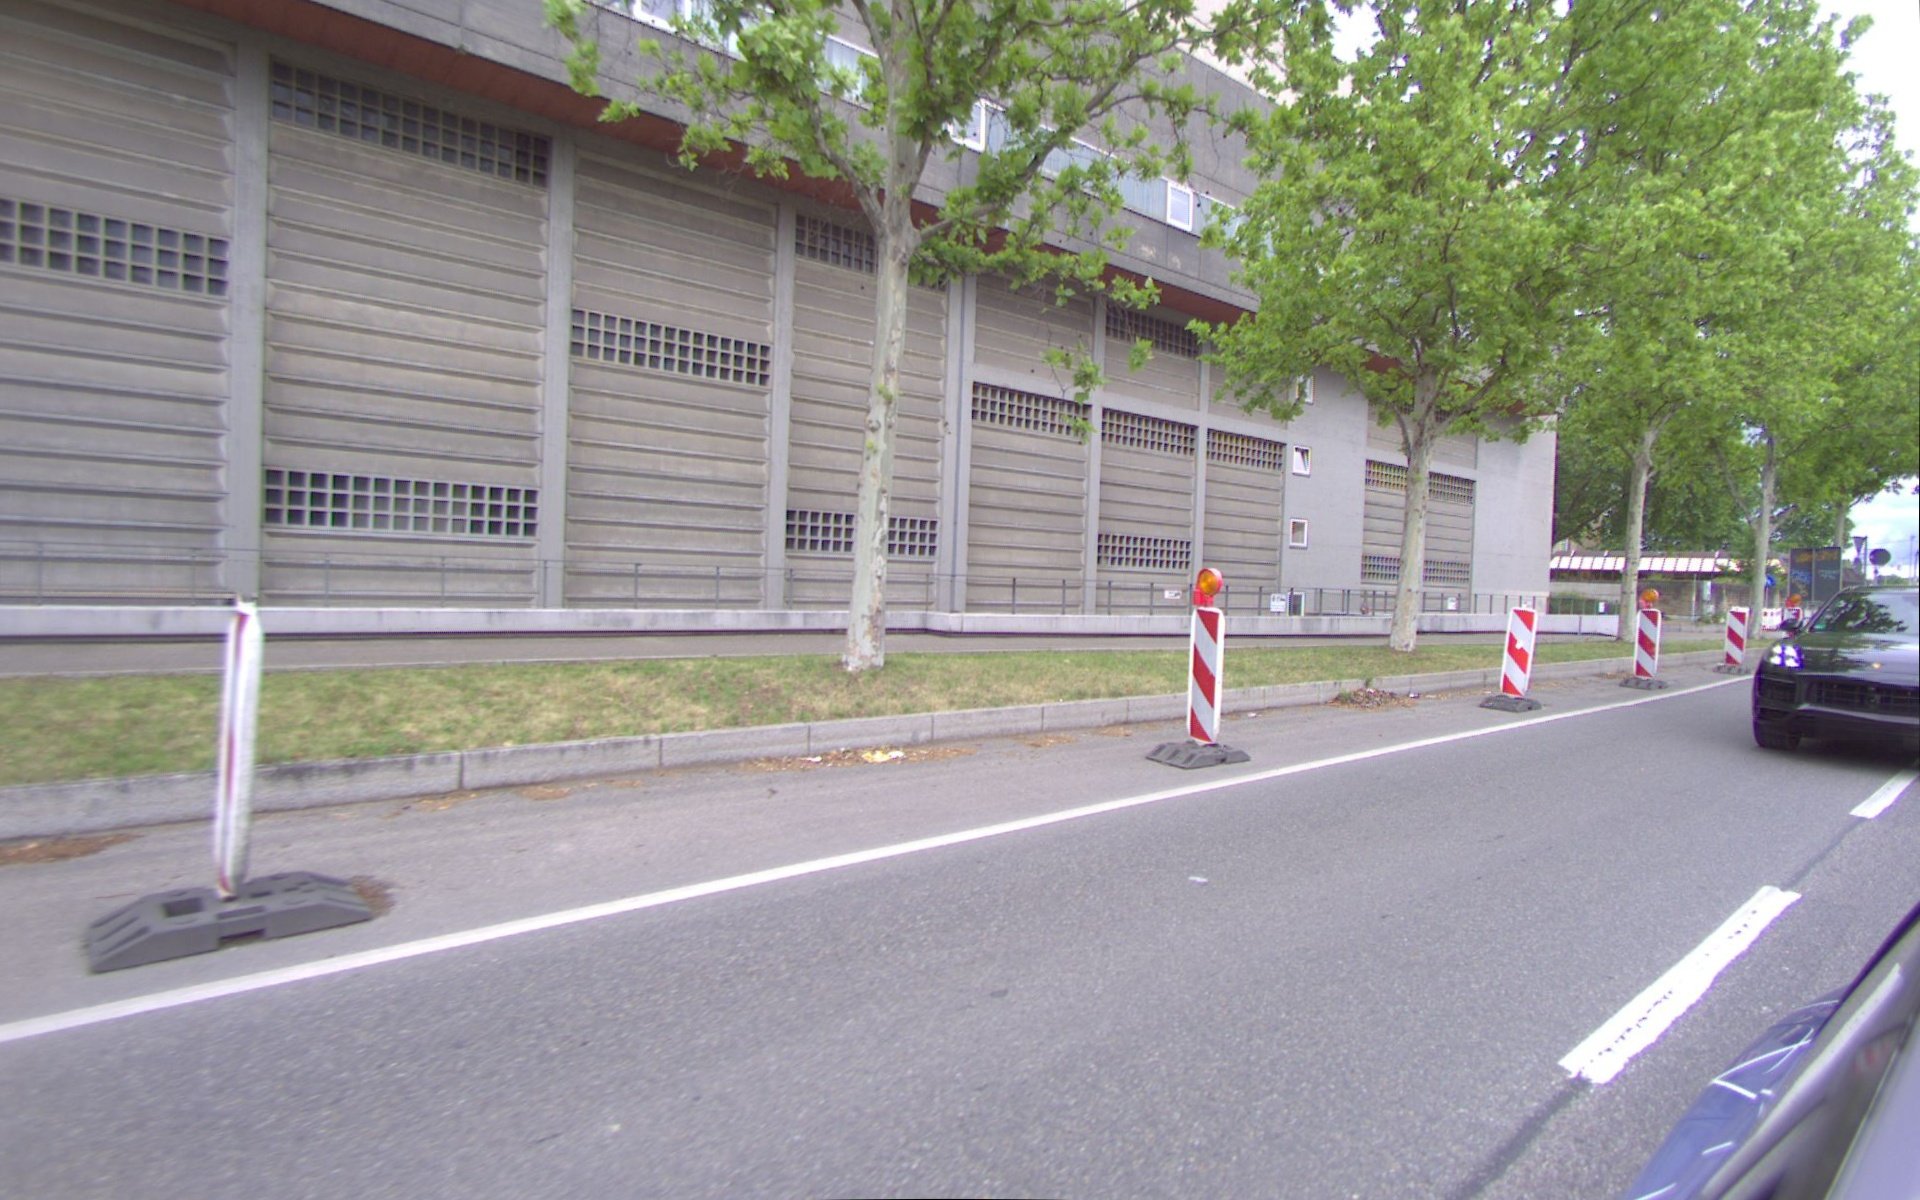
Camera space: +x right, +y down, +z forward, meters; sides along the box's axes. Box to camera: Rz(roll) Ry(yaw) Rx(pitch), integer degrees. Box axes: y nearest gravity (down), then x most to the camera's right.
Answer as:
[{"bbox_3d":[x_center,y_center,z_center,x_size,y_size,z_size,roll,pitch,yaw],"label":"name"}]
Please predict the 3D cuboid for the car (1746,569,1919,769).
[{"bbox_3d":[9.715,0.570,10.145,4.526,1.668,1.955,-1,3,-40],"label":"car"}]

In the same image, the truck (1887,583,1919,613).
[{"bbox_3d":[125.923,-0.232,134.065,2.890,3.720,8.922,3,2,32],"label":"truck"}]

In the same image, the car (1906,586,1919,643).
[{"bbox_3d":[28.076,0.471,28.243,4.196,1.526,1.955,0,4,-41],"label":"car"}]
